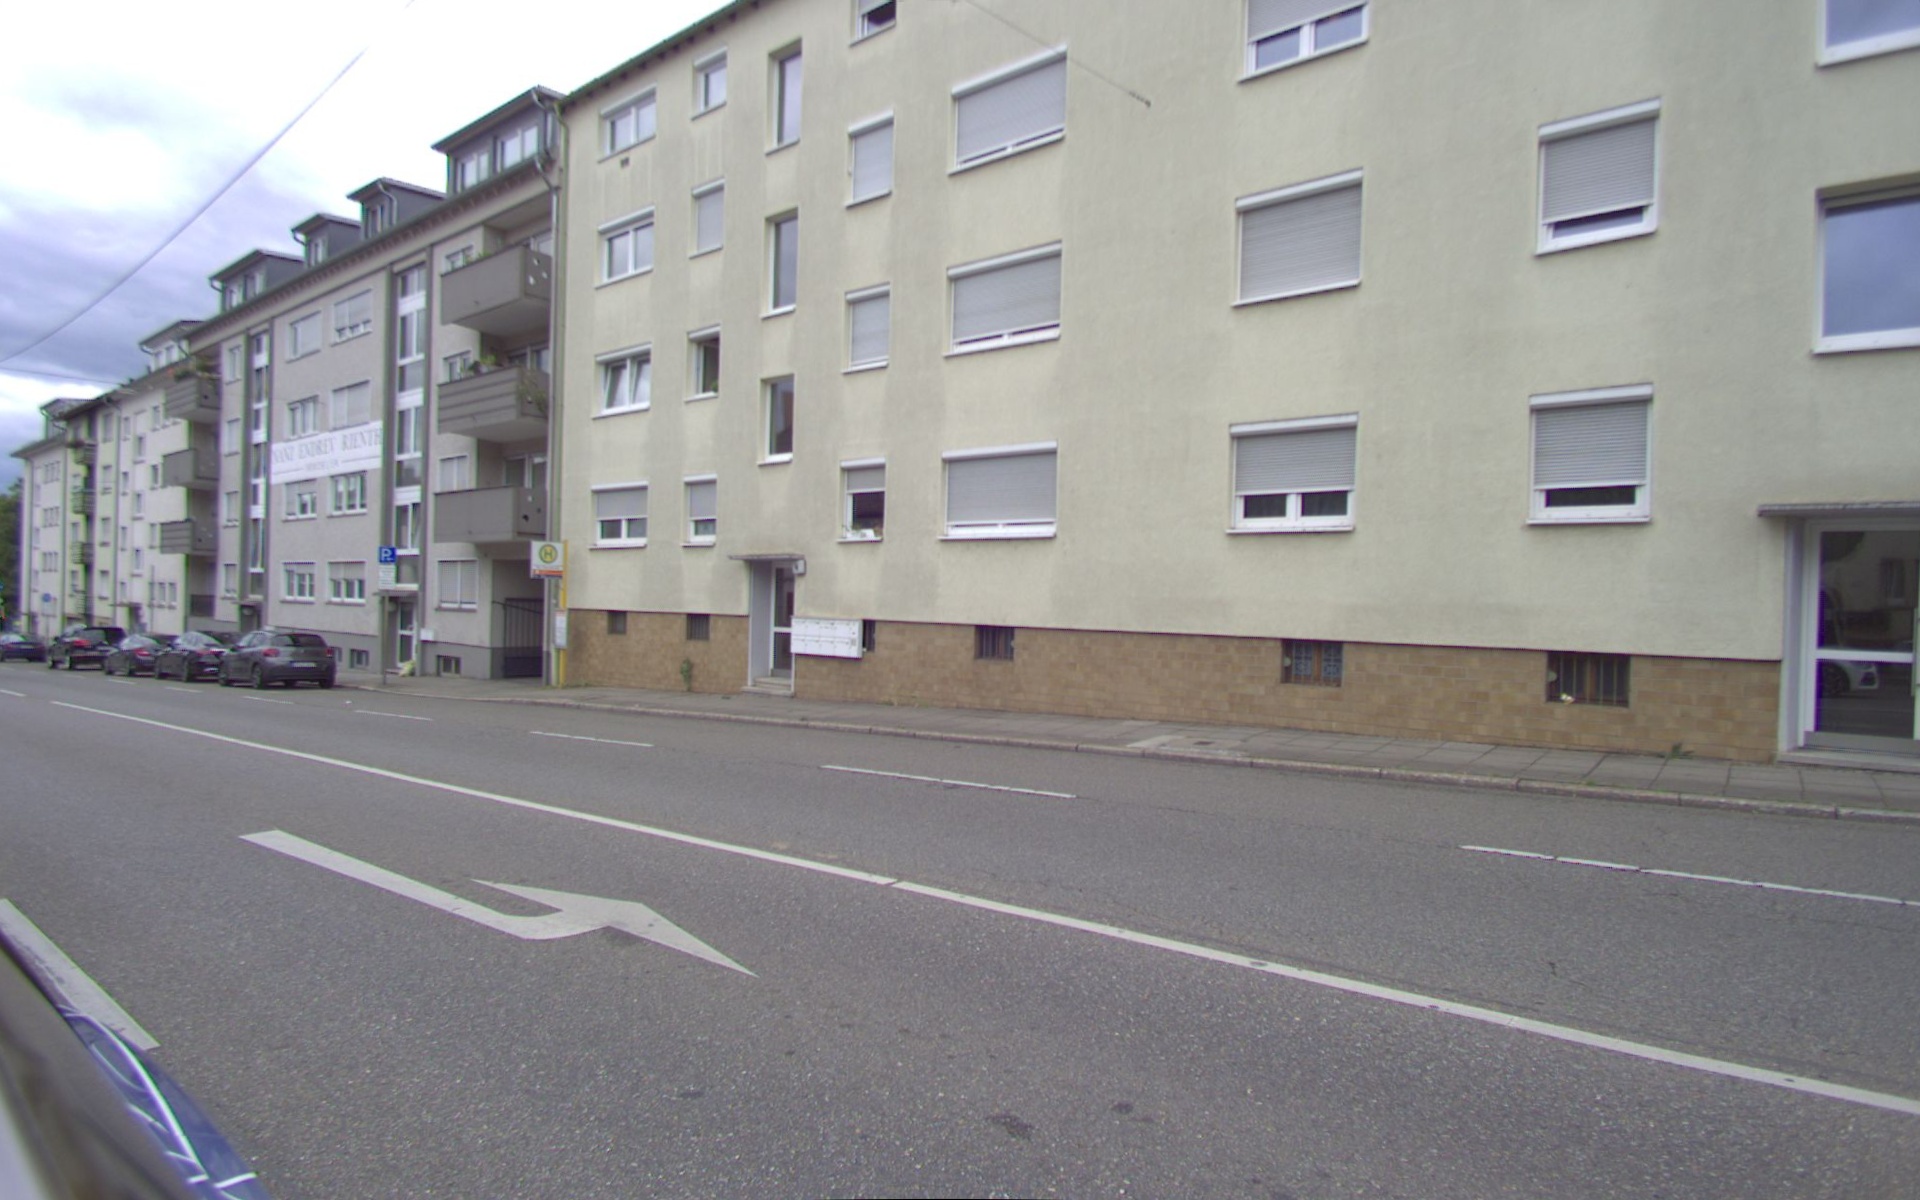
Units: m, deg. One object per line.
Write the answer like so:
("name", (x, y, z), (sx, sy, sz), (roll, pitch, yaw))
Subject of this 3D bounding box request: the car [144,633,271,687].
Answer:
("car", (-21.903, 1.721, 29.402), (4.712, 1.416, 1.751), (-1, -4, 39))

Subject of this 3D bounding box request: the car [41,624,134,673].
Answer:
("car", (-33.558, 1.859, 38.895), (4.302, 1.767, 1.852), (-1, -4, 39))

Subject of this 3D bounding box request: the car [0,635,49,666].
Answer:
("car", (-46.341, 2.467, 49.675), (4.305, 1.391, 1.851), (-1, -4, 41))

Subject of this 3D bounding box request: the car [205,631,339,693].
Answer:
("car", (-17.740, 1.560, 26.059), (3.797, 1.447, 1.751), (-1, -4, 39))

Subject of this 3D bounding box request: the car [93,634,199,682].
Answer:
("car", (-26.582, 1.875, 33.009), (4.302, 1.416, 1.751), (-1, -4, 39))
